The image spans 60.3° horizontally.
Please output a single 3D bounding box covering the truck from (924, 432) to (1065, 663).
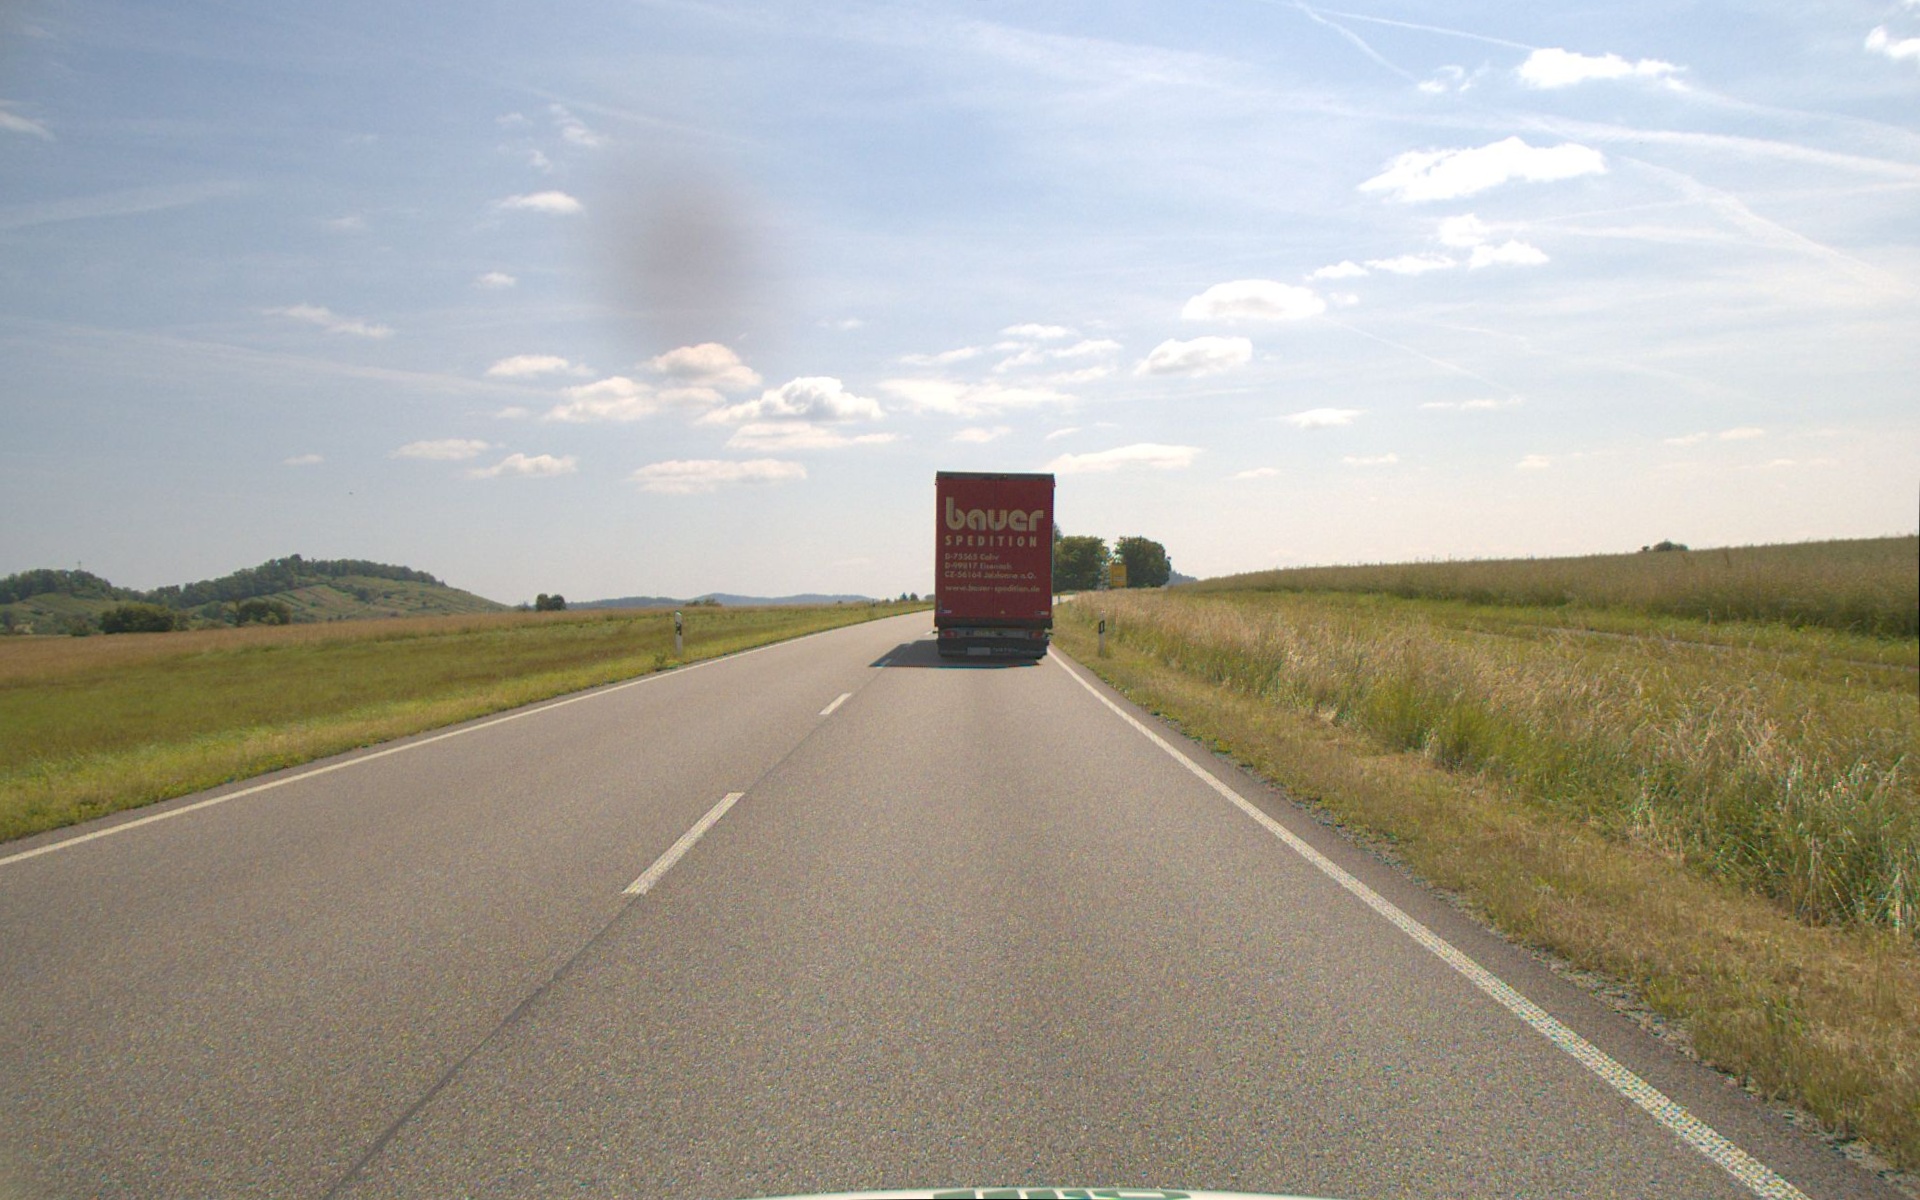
[{"bbox_3d":[0.869,-1.134,39.091,2.913,4.795,9.368,0,0,2],"label":"truck"}]
